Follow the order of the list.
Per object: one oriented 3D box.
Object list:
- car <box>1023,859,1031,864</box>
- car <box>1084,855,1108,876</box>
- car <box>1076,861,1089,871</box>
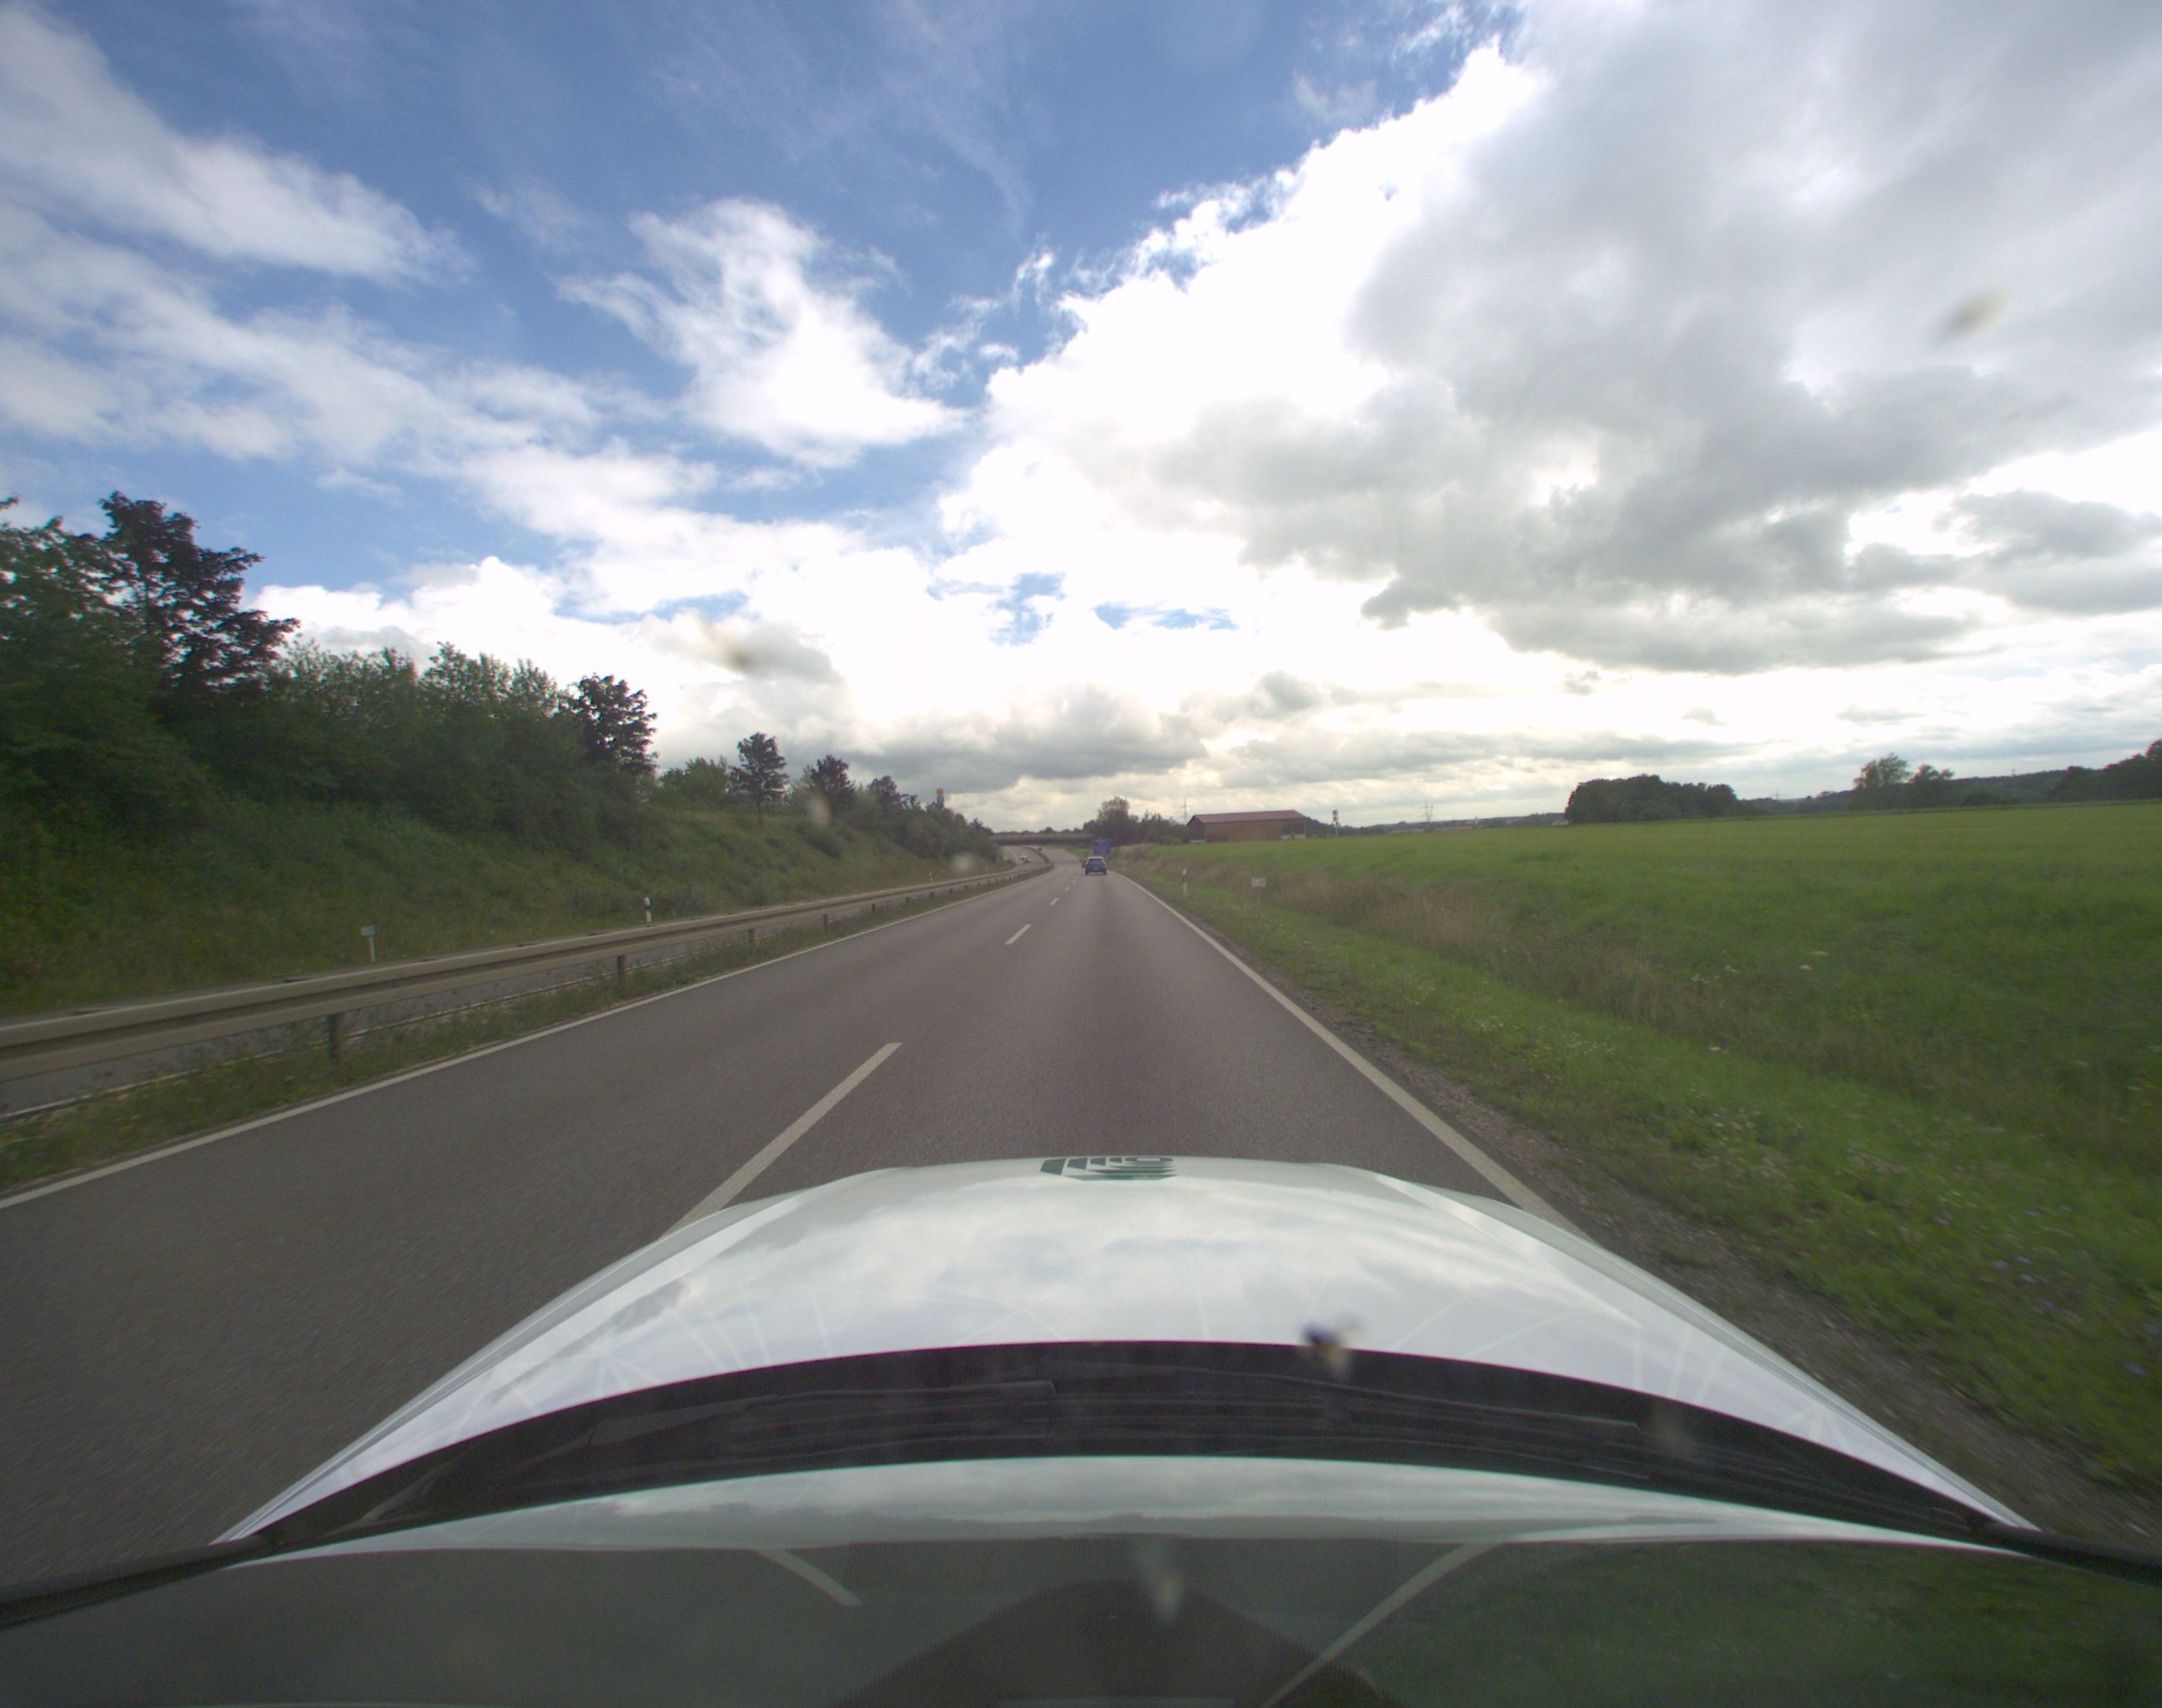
[{"bbox_3d":[-15.321,2.009,232.431,1.987,1.304,4.820,-3,0,-1],"label":"car"},{"bbox_3d":[1.340,1.020,73.524,2.026,1.660,4.543,-1,1,0],"label":"car"},{"bbox_3d":[0.218,1.898,129.865,1.913,1.453,4.359,-3,1,-3],"label":"car"}]
